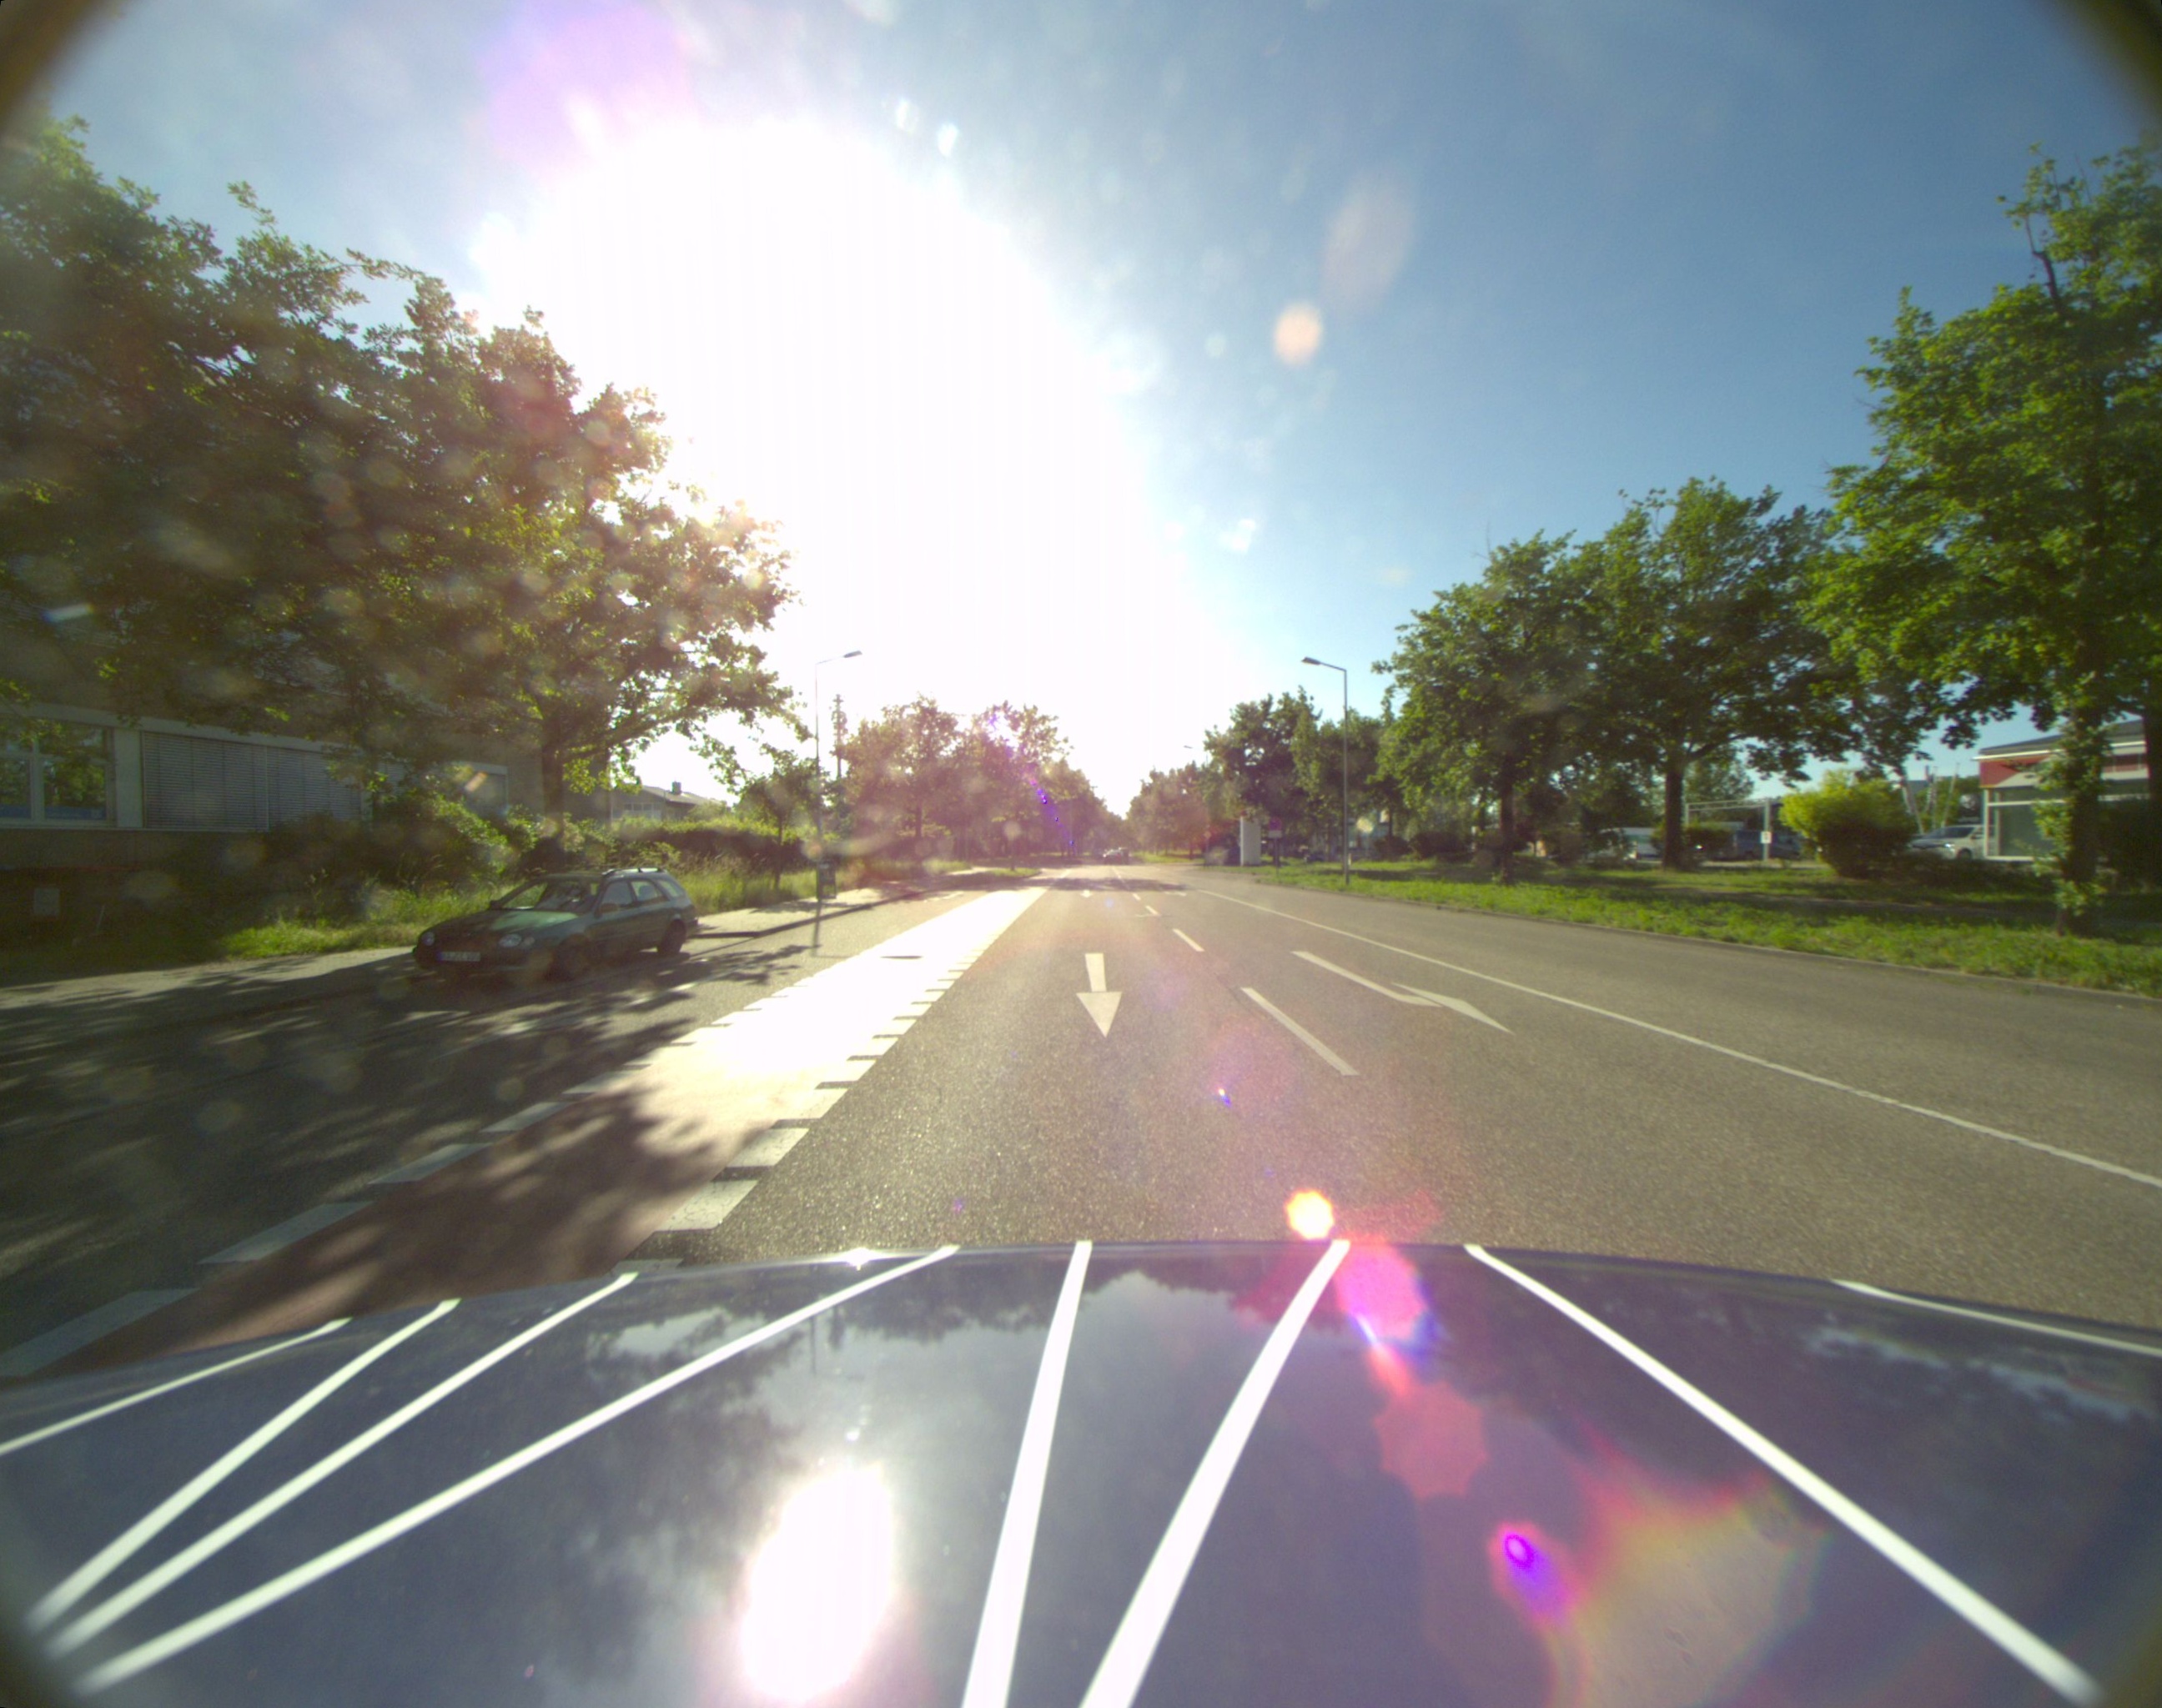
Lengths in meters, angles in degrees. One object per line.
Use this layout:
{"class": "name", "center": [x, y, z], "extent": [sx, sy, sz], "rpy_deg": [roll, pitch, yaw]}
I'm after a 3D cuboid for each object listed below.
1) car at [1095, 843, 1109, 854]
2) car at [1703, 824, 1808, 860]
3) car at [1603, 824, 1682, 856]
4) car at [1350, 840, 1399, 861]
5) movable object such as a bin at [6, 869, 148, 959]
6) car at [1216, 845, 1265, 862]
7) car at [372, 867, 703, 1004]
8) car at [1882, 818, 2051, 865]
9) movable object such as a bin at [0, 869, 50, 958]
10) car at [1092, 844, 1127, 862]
{"class": "car", "center": [2.913, -0.707, 104.721], "extent": [1.776, 1.477, 3.781], "rpy_deg": [1, 1, 4]}
{"class": "car", "center": [39.886, -0.705, 45.008], "extent": [4.491, 1.934, 1.997], "rpy_deg": [-2, 1, -1]}
{"class": "car", "center": [39.088, -0.975, 52.940], "extent": [4.212, 2.204, 1.777], "rpy_deg": [-1, 1, -2]}
{"class": "car", "center": [27.781, -0.327, 71.962], "extent": [3.994, 2.002, 2.001], "rpy_deg": [0, 1, 9]}
{"class": "movable object such as a bin", "center": [-15.562, 0.911, 11.808], "extent": [1.089, 1.314, 0.796], "rpy_deg": [-1, 1, 1]}
{"class": "car", "center": [14.532, -0.070, 69.491], "extent": [4.210, 1.477, 1.778], "rpy_deg": [-1, 1, 5]}
{"class": "car", "center": [-7.496, 0.999, 11.125], "extent": [1.776, 1.477, 4.214], "rpy_deg": [1, 1, 1]}
{"class": "car", "center": [33.960, -0.475, 29.230], "extent": [4.238, 1.578, 1.997], "rpy_deg": [-2, 1, -1]}
{"class": "movable object such as a bin", "center": [-17.051, 0.918, 11.699], "extent": [1.208, 1.333, 0.796], "rpy_deg": [-1, 1, 0]}
{"class": "car", "center": [2.746, -0.092, 72.356], "extent": [1.995, 1.674, 4.006], "rpy_deg": [0, 1, 23]}
